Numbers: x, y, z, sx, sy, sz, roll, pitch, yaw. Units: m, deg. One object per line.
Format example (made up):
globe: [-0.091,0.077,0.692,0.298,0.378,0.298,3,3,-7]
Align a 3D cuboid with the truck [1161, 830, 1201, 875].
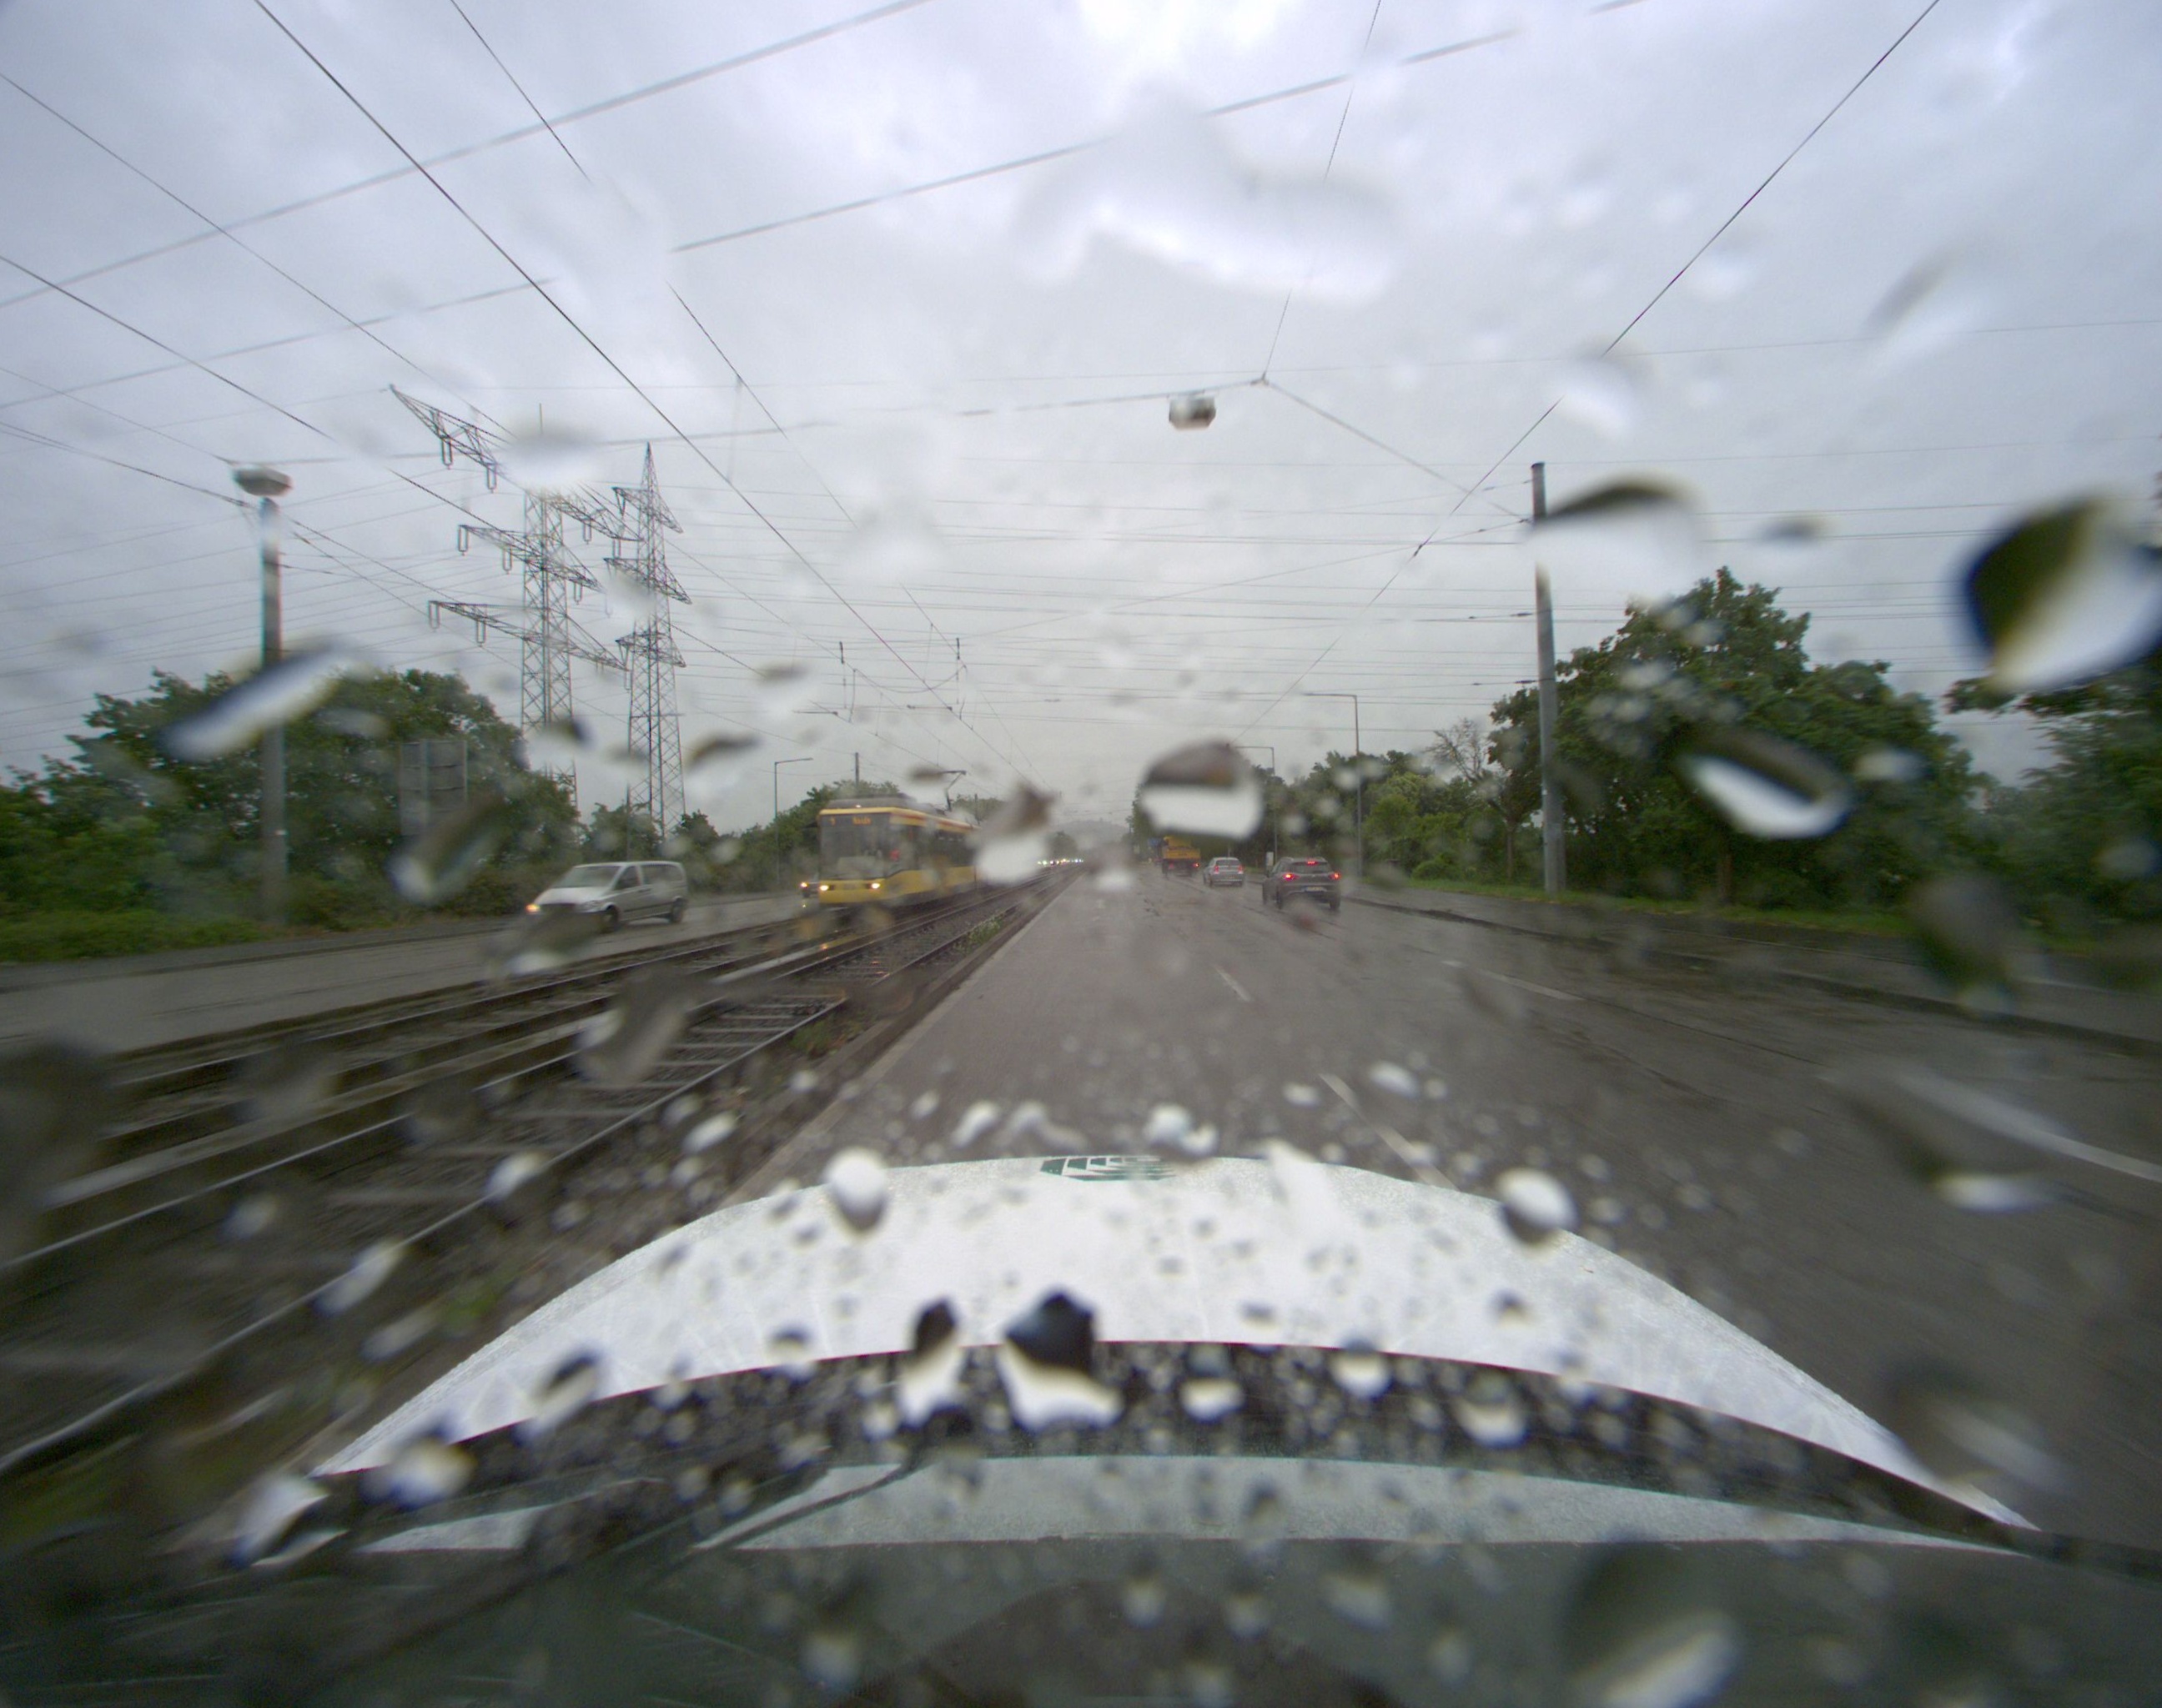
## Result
truck: [7.717,-0.155,63.516,2.545,3.257,6.938,0,1,3]

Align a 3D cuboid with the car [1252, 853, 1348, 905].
car: [6.382,0.689,24.233,1.880,1.357,4.280,0,1,2]

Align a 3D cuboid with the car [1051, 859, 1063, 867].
car: [-5.155,1.926,177.224,1.984,1.464,5.257,-4,0,4]

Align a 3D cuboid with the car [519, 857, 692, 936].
car: [-12.924,1.059,22.531,1.880,1.884,4.625,0,1,3]

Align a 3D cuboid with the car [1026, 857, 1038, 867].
car: [-9.098,1.474,151.166,1.836,1.574,5.067,0,1,1]

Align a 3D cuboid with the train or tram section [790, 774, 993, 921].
train or tram section: [-5.765,-0.275,29.590,2.854,3.705,17.894,0,1,1]

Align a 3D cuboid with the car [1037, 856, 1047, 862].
car: [-9.042,1.107,188.765,1.751,1.362,5.073,0,1,1]

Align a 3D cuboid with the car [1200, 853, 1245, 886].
car: [7.138,0.745,41.570,1.620,1.503,4.608,0,1,2]

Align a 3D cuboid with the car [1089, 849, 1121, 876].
car: [1.598,0.499,53.212,1.981,1.684,3.742,0,1,3]

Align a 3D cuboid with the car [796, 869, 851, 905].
car: [-13.600,1.719,43.276,1.661,1.723,3.733,0,1,1]

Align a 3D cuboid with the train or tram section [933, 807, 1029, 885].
train or tram section: [-5.378,-0.496,48.301,2.875,3.705,19.534,0,1,1]
